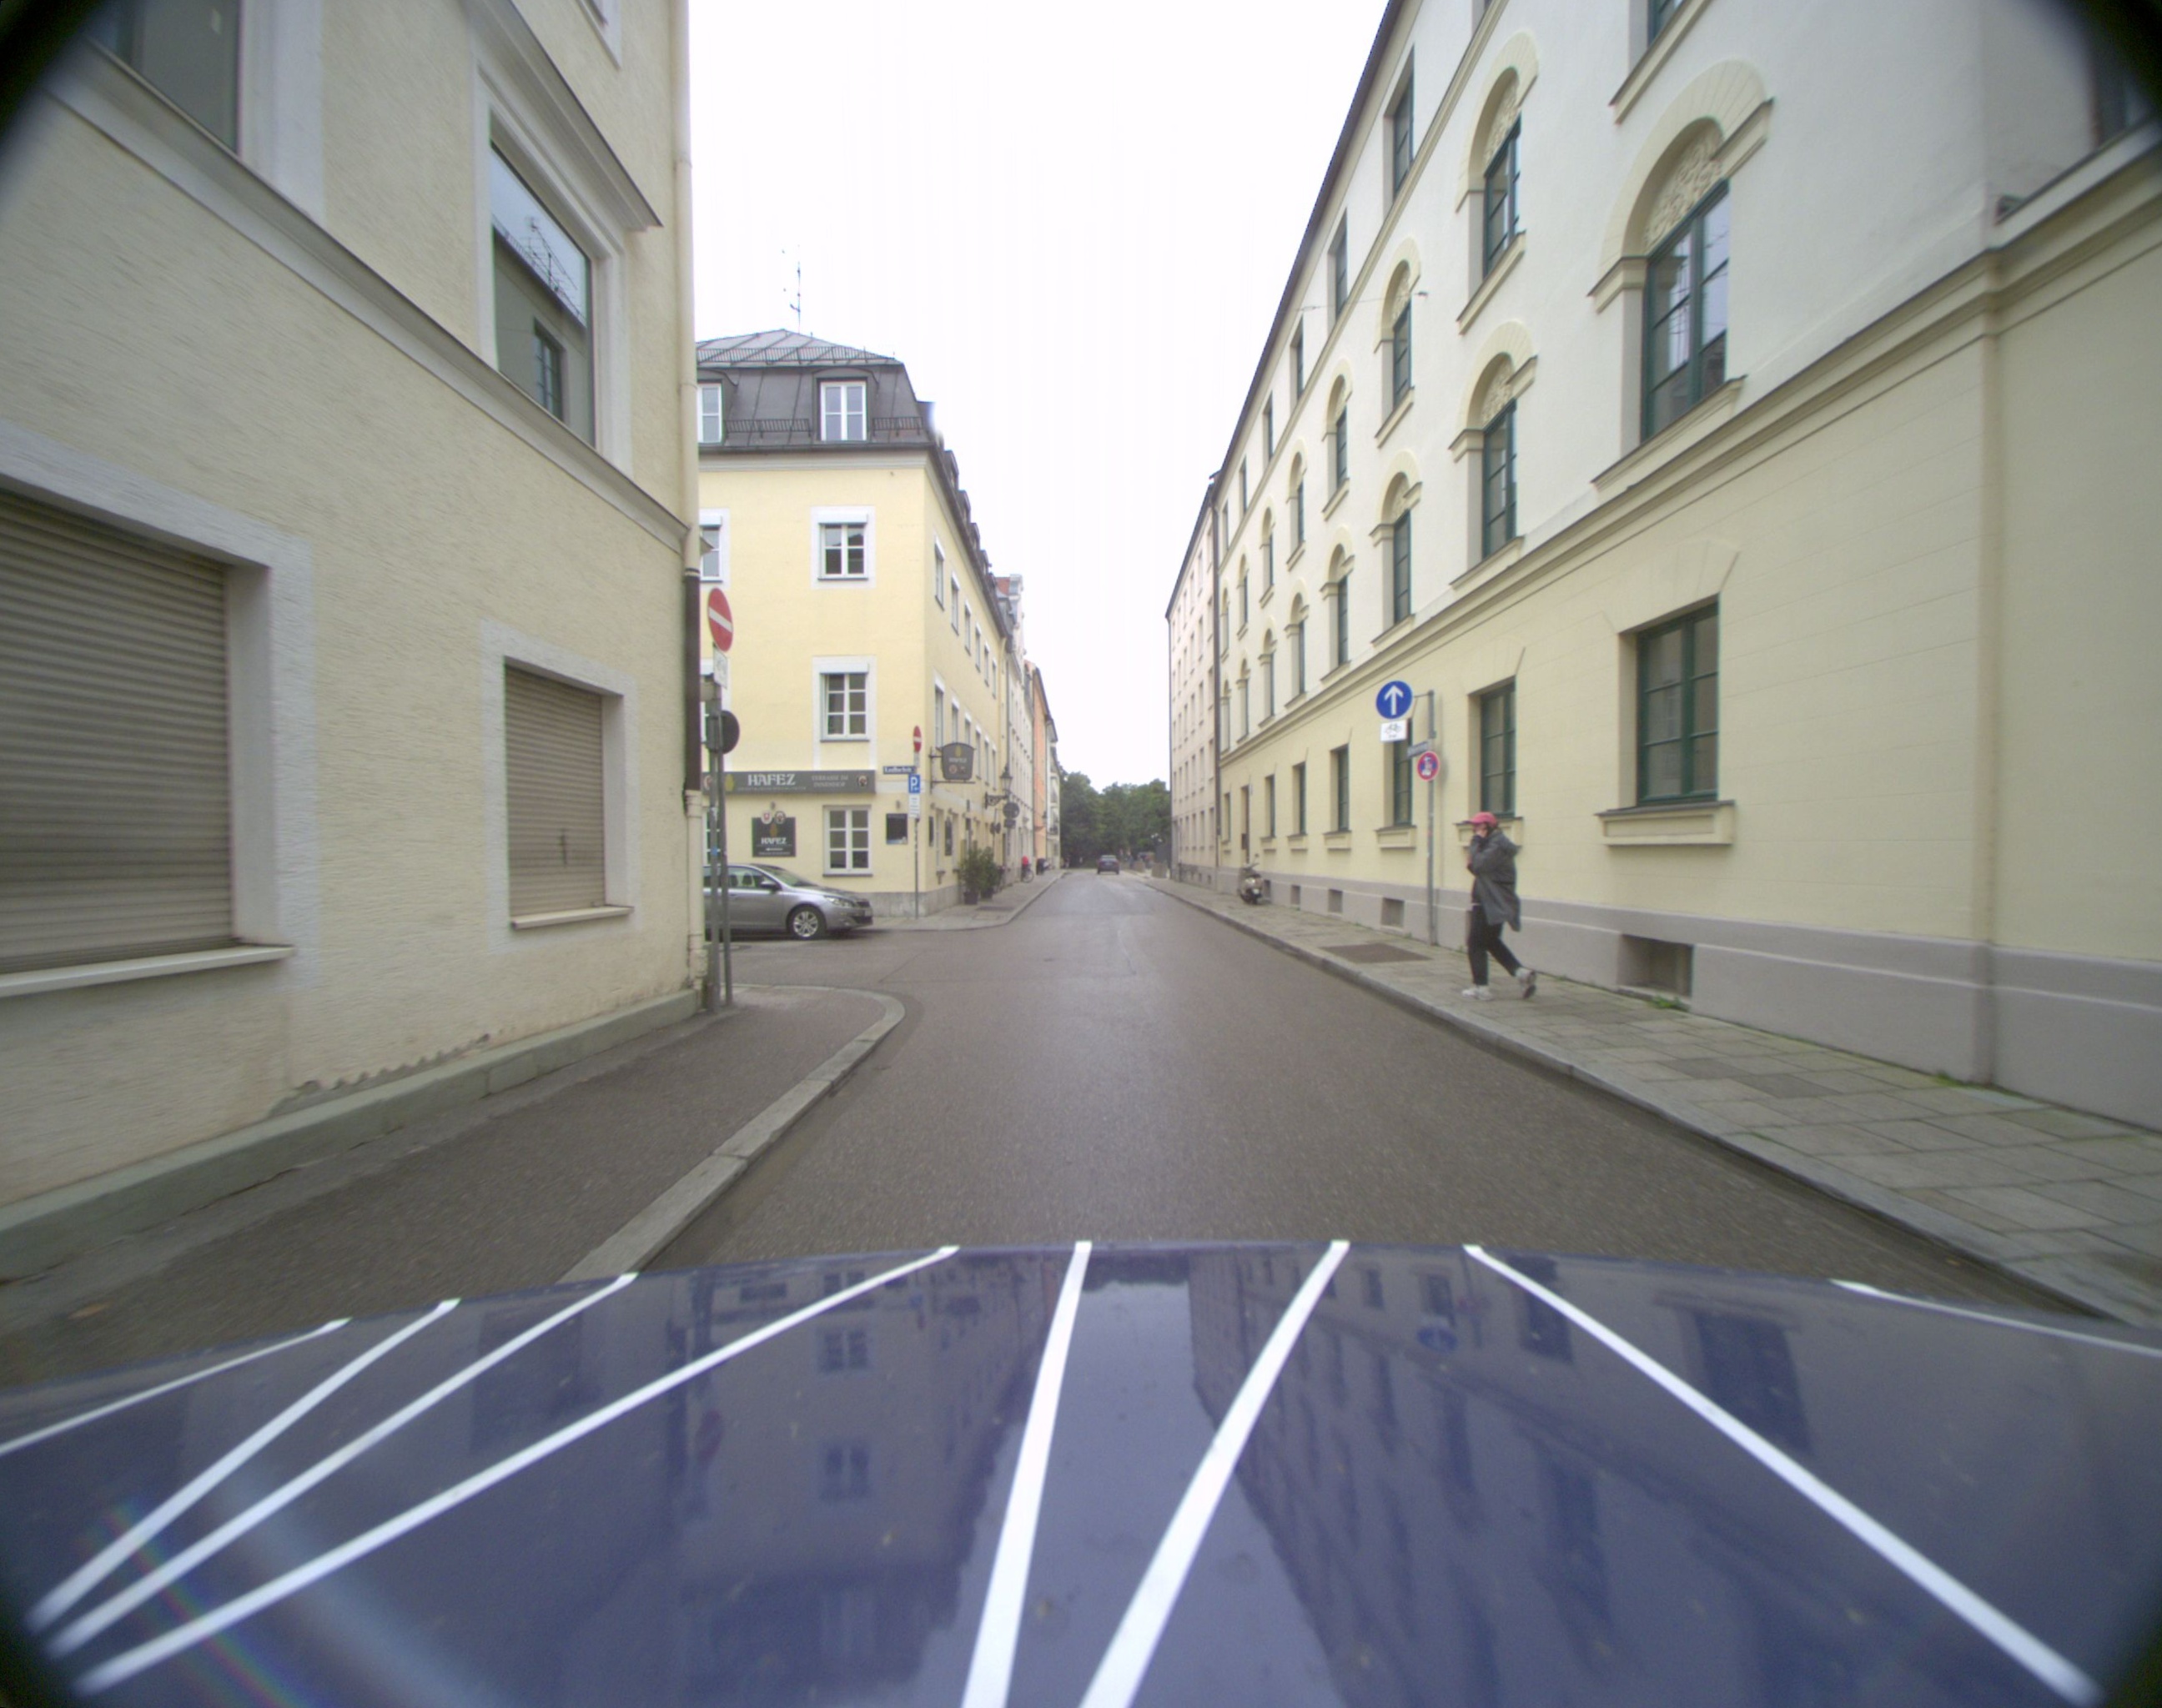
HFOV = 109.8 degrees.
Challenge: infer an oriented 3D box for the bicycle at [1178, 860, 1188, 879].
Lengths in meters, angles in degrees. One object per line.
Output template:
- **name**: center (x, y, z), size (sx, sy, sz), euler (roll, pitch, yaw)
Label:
- **bicycle**: center (5.286, 0.805, 39.393), size (0.320, 0.938, 1.574), euler (-3, 0, 2)

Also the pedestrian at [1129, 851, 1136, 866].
- **pedestrian**: center (5.112, 0.457, 75.508), size (0.640, 1.458, 1.079), euler (-2, 0, 1)

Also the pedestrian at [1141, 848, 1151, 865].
- **pedestrian**: center (8.009, 0.338, 93.473), size (1.226, 2.091, 1.117), euler (0, 0, 3)

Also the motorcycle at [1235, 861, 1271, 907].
- **motorcycle**: center (4.707, 0.809, 20.915), size (0.603, 1.167, 1.708), euler (-1, 0, 1)

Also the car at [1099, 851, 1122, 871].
- **car**: center (2.391, 0.548, 62.030), size (1.816, 1.584, 4.000), euler (0, 0, 1)

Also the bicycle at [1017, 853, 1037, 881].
- **bicycle**: center (-2.861, 0.675, 40.407), size (0.715, 1.388, 2.122), euler (2, 0, 3)

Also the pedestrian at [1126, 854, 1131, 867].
- **pedestrian**: center (6.646, 0.943, 106.218), size (0.625, 1.758, 0.766), euler (0, 0, 0)

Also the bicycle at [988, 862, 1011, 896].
- **bicycle**: center (-2.883, 0.880, 27.103), size (0.567, 1.130, 1.684), euler (2, 0, 1)

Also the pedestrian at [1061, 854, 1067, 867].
- **pedestrian**: center (-2.149, 0.802, 97.001), size (0.753, 1.671, 0.656), euler (0, 0, -1)

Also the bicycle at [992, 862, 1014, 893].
- **bicycle**: center (-2.996, 0.877, 29.324), size (0.567, 1.130, 1.987), euler (2, 0, 1)

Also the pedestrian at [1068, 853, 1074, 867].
- **pedestrian**: center (-1.332, 0.754, 97.040), size (0.753, 1.725, 0.853), euler (0, 0, -1)

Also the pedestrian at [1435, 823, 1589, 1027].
- **pedestrian**: center (3.981, 0.625, 7.101), size (0.811, 1.745, 0.990), euler (-1, -1, -2)

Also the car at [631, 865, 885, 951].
- **car**: center (-5.980, 0.989, 14.386), size (4.024, 1.432, 1.765), euler (-1, -2, 2)

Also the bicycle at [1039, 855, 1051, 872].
- **bicycle**: center (-2.709, 0.699, 57.351), size (0.681, 1.233, 2.382), euler (4, 0, 2)

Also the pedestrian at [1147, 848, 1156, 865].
- **pedestrian**: center (6.955, 0.247, 75.192), size (0.826, 1.713, 0.906), euler (-2, 0, 6)

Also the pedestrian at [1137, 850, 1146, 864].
- **pedestrian**: center (6.392, 0.312, 80.425), size (0.779, 1.531, 0.933), euler (-2, 0, 3)
